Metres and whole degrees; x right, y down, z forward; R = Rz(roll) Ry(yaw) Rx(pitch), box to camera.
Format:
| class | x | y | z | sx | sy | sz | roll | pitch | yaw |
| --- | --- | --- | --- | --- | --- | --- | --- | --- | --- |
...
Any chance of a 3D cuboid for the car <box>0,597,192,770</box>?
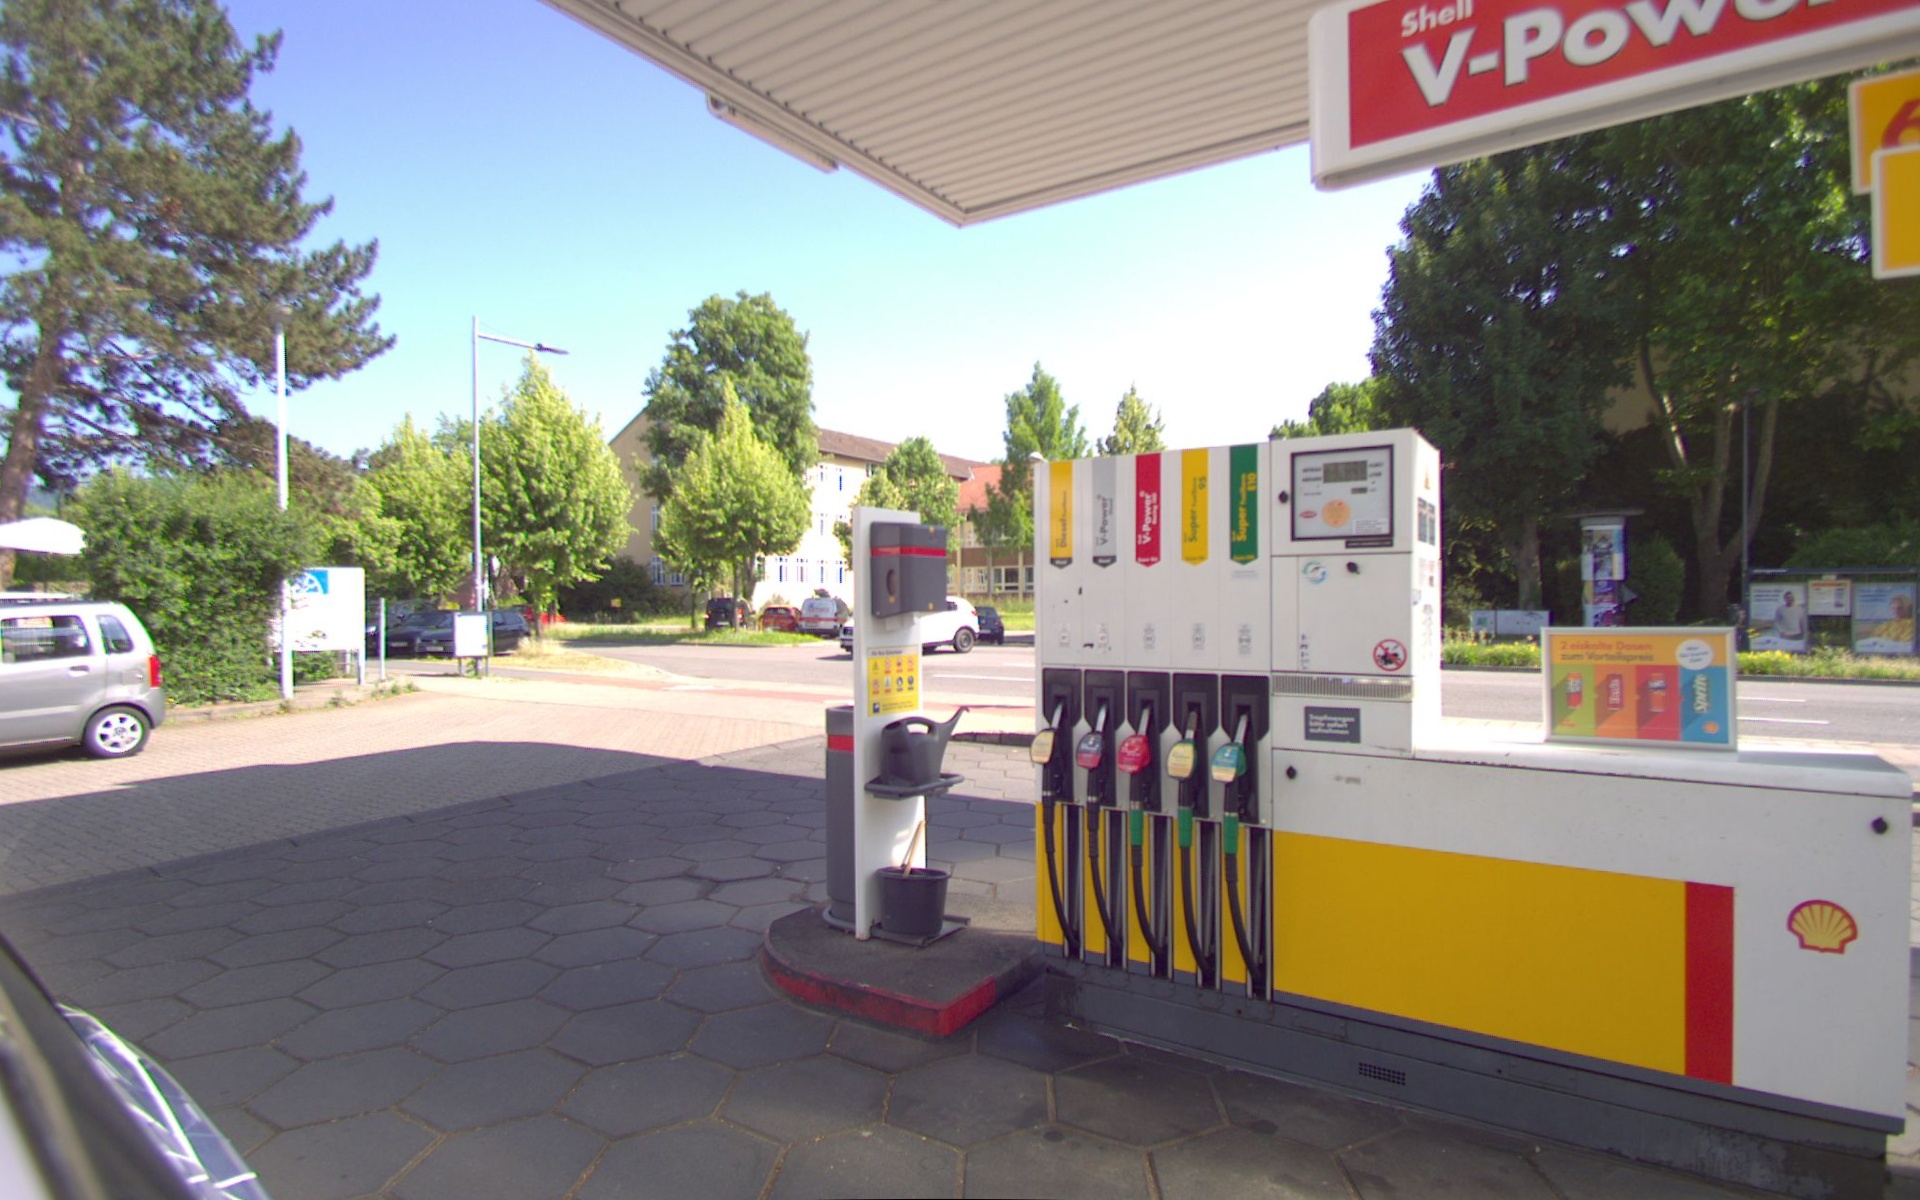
| class | x | y | z | sx | sy | sz | roll | pitch | yaw |
| --- | --- | --- | --- | --- | --- | --- | --- | --- | --- |
| car | -10.078 | 0.831 | 10.004 | 1.689 | 1.629 | 3.618 | -1 | 1 | 36 |

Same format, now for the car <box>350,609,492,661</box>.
| class | x | y | z | sx | sy | sz | roll | pitch | yaw |
| --- | --- | --- | --- | --- | --- | --- | --- | --- | --- |
| car | -16.827 | 1.075 | 31.840 | 1.859 | 1.493 | 4.216 | 0 | -1 | 7 |

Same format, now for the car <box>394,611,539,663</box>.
| class | x | y | z | sx | sy | sz | roll | pitch | yaw |
| --- | --- | --- | --- | --- | --- | --- | --- | --- | --- |
| car | -14.569 | 1.095 | 30.173 | 1.859 | 1.428 | 4.216 | 0 | -2 | 7 |

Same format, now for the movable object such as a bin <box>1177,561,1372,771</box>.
| class | x | y | z | sx | sy | sz | roll | pitch | yaw |
| --- | --- | --- | --- | --- | --- | --- | --- | --- | --- |
| movable object such as a bin | 2.863 | 0.563 | 9.155 | 1.334 | 1.701 | 1.327 | 0 | -3 | 35 |

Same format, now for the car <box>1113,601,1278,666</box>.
| class | x | y | z | sx | sy | sz | roll | pitch | yaw |
| --- | --- | --- | --- | --- | --- | --- | --- | --- | --- |
| car | 6.904 | 0.931 | 29.755 | 4.371 | 1.782 | 1.981 | 0 | 0 | 28 |

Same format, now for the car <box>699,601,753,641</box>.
| class | x | y | z | sx | sy | sz | roll | pitch | yaw |
| --- | --- | --- | --- | --- | --- | --- | --- | --- | --- |
| car | -10.694 | 0.967 | 46.515 | 1.853 | 1.735 | 4.230 | 1 | -2 | -5 |

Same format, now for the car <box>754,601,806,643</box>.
| class | x | y | z | sx | sy | sz | roll | pitch | yaw |
| --- | --- | --- | --- | --- | --- | --- | --- | --- | --- |
| car | -8.010 | 0.989 | 45.345 | 1.853 | 1.735 | 4.230 | 1 | -2 | -5 |

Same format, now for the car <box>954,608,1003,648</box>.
| class | x | y | z | sx | sy | sz | roll | pitch | yaw |
| --- | --- | --- | --- | --- | --- | --- | --- | --- | --- |
| car | 0.671 | 1.077 | 39.521 | 1.716 | 1.471 | 4.227 | 0 | -2 | -2 |

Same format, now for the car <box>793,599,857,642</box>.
| class | x | y | z | sx | sy | sz | roll | pitch | yaw |
| --- | --- | --- | --- | --- | --- | --- | --- | --- | --- |
| car | -5.816 | 0.893 | 43.995 | 1.858 | 1.735 | 4.219 | 1 | -1 | 5 |

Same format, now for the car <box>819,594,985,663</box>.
| class | x | y | z | sx | sy | sz | roll | pitch | yaw |
| --- | --- | --- | --- | --- | --- | --- | --- | --- | --- |
| car | -1.606 | 0.759 | 28.851 | 4.319 | 1.782 | 2.004 | -1 | 0 | -37 |

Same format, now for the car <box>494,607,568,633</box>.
| class | x | y | z | sx | sy | sz | roll | pitch | yaw |
| --- | --- | --- | --- | --- | --- | --- | --- | --- | --- |
| car | -23.801 | 1.136 | 56.299 | 1.864 | 1.401 | 3.707 | 1 | -2 | 16 |
